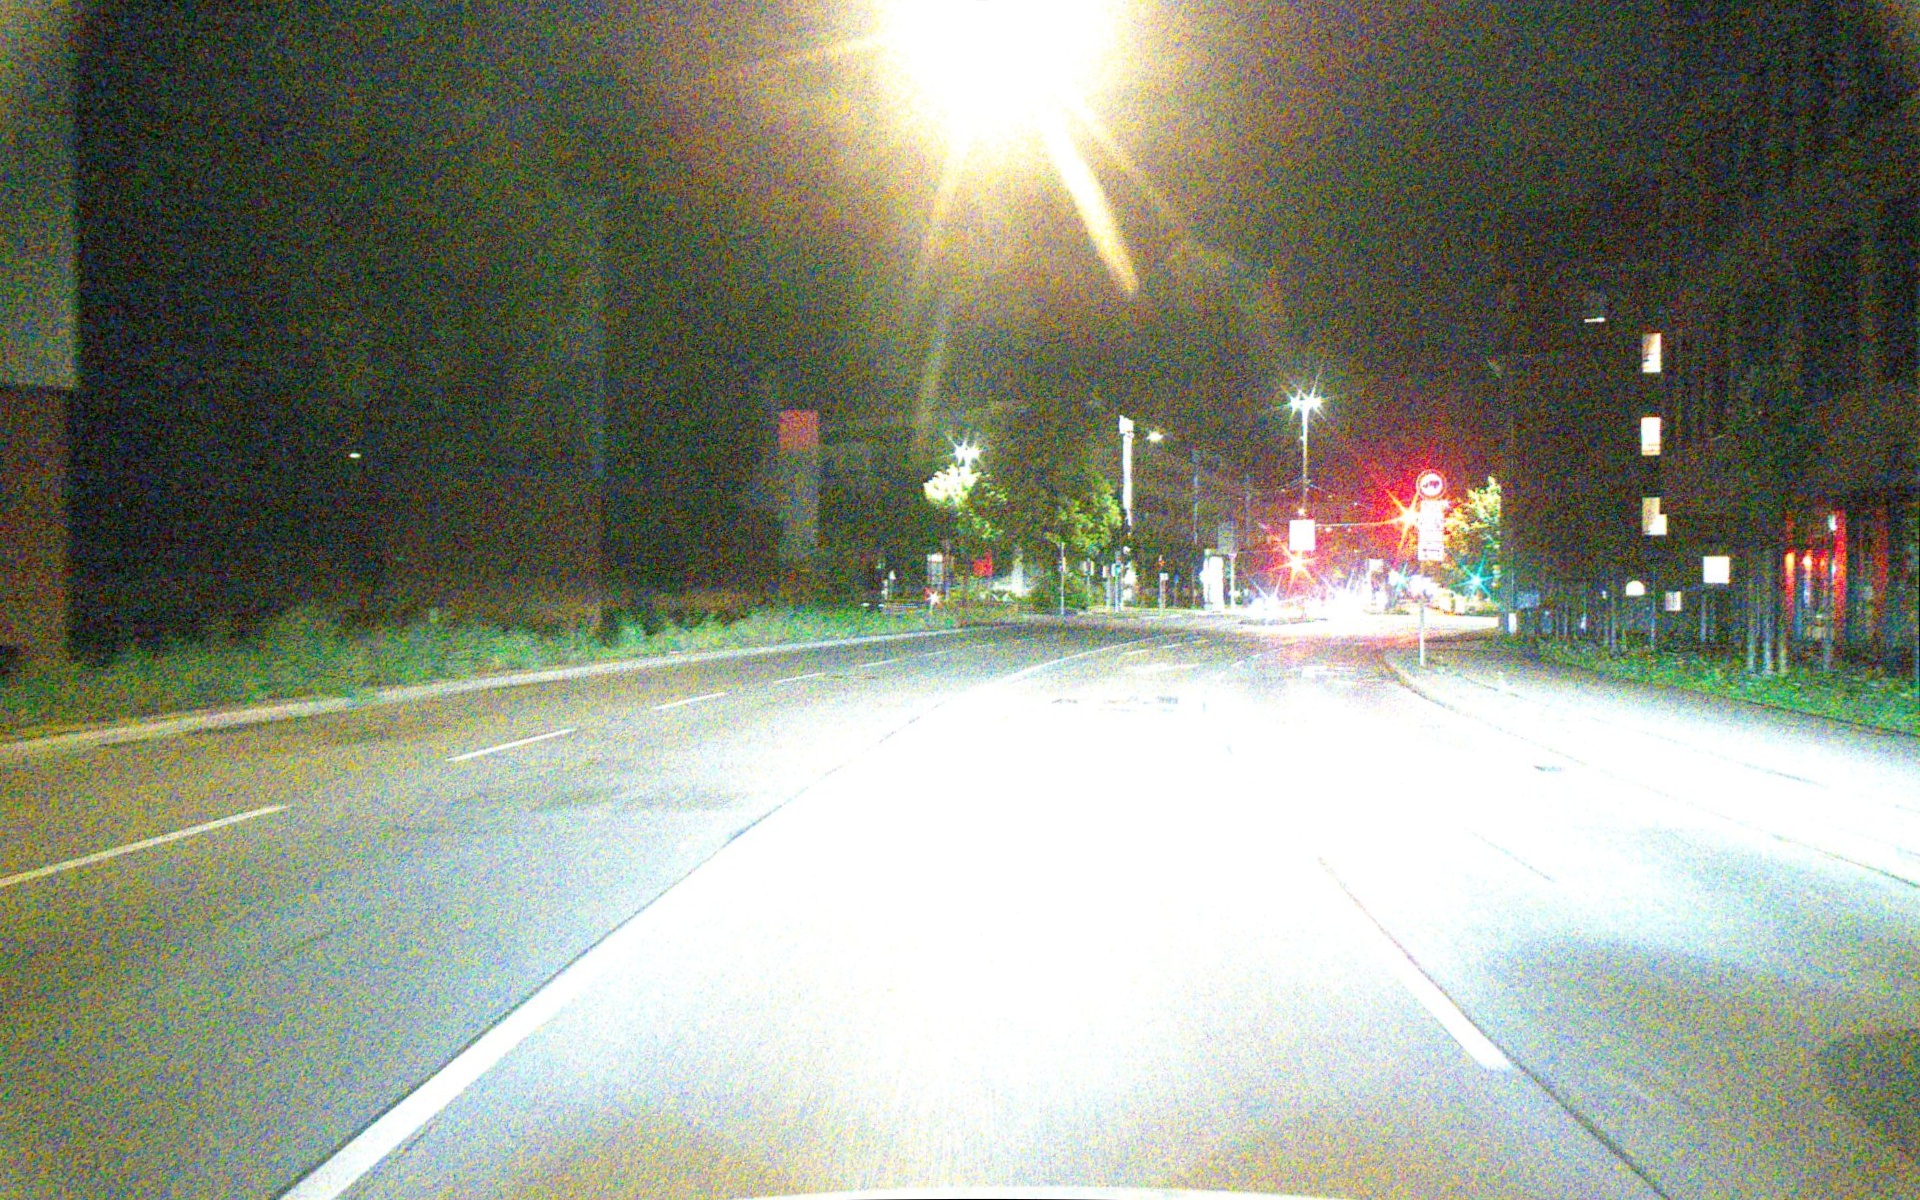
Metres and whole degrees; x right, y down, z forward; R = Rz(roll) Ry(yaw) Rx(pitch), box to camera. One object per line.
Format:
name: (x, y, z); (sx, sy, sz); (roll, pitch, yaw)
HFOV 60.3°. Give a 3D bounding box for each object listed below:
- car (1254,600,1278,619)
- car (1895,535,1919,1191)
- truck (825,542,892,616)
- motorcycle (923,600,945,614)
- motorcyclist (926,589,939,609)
car: (26.636, 0.824, 143.919); (1.582, 1.541, 4.002); (1, 0, 18)
car: (3.256, 0.670, 2.139); (1.636, 1.638, 4.228); (1, 0, -1)
truck: (-5.743, -1.108, 92.028); (2.883, 3.863, 9.538); (1, 0, -9)
motorcycle: (-1.638, 0.442, 105.317); (0.570, 0.911, 2.139); (-2, 1, -24)
motorcyclist: (-1.725, -0.071, 104.997); (0.638, 1.283, 0.574); (1, 0, -25)
